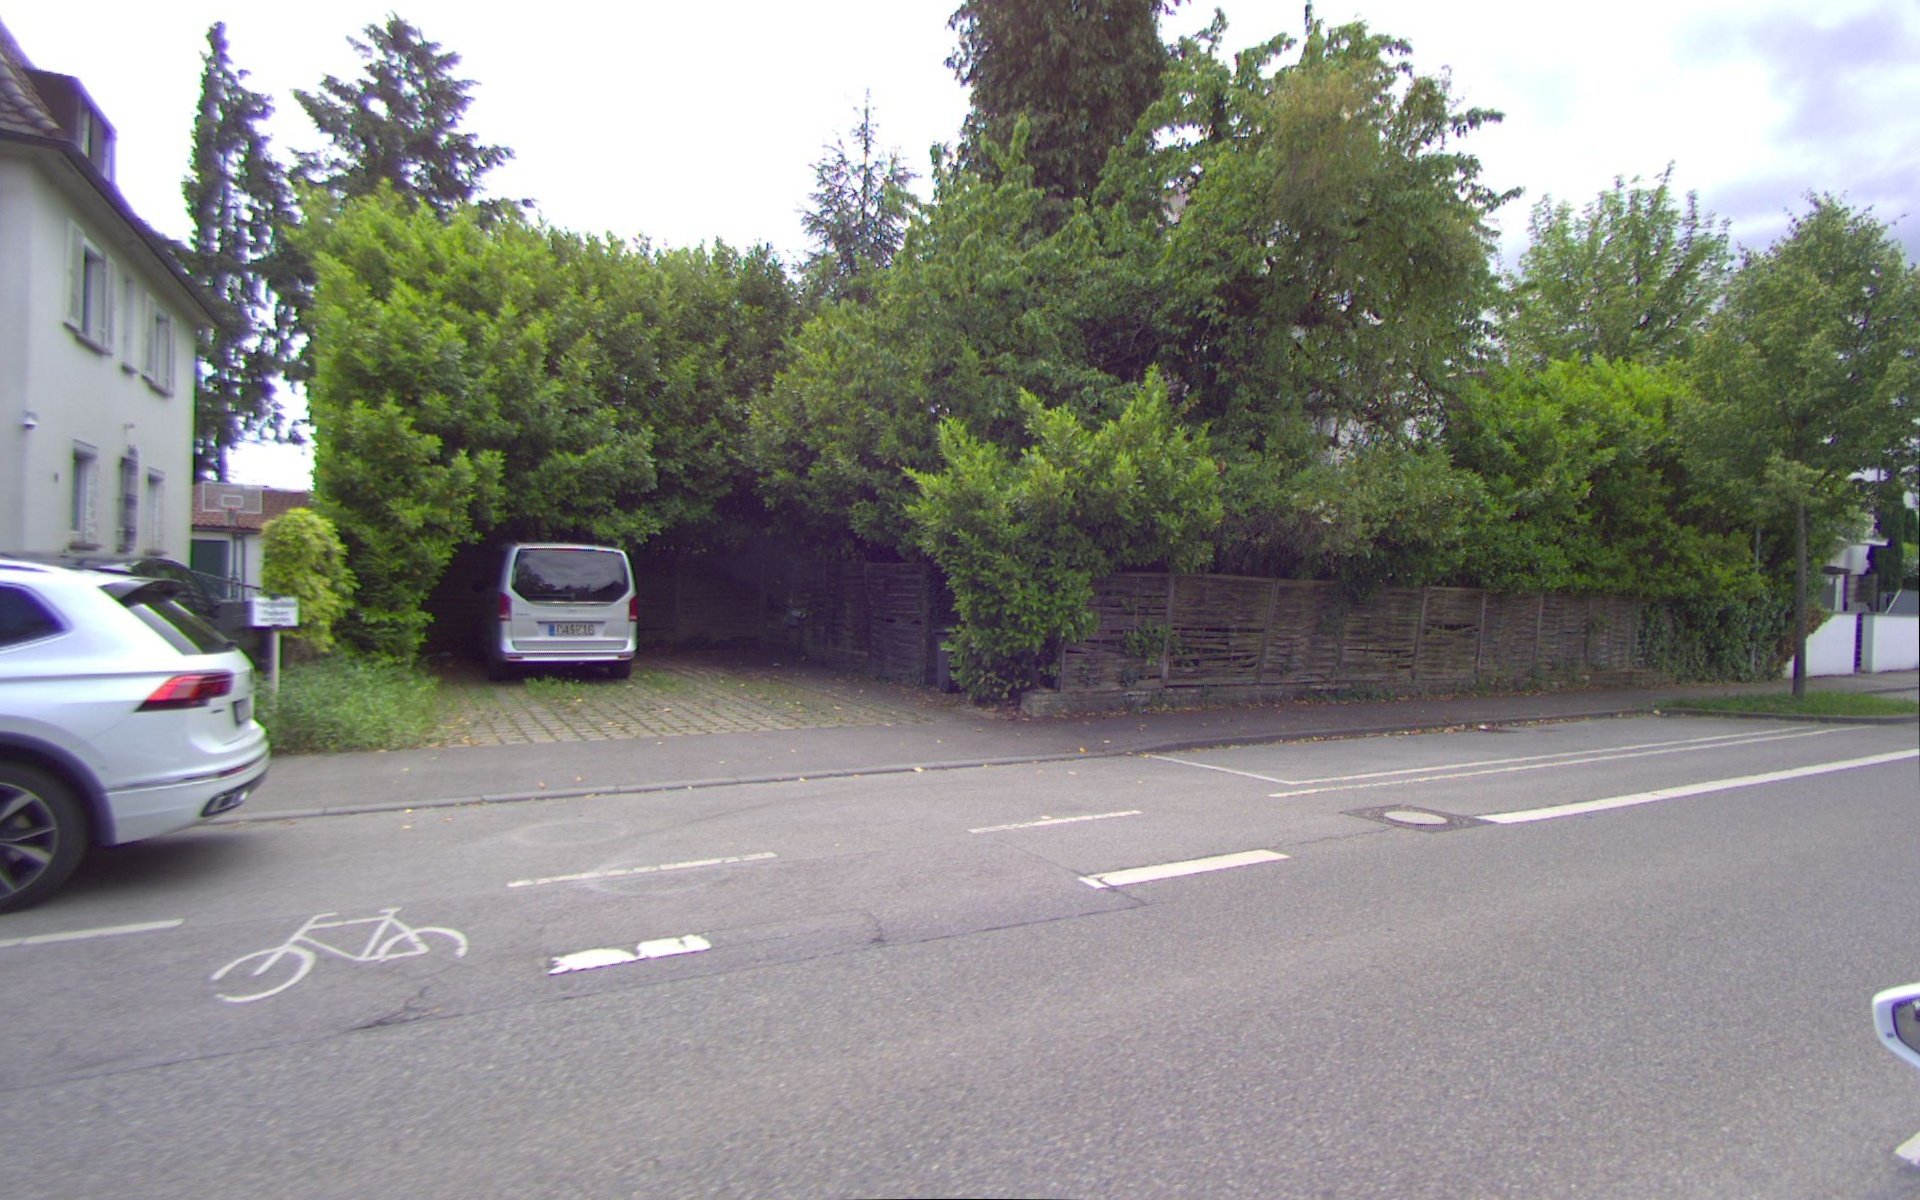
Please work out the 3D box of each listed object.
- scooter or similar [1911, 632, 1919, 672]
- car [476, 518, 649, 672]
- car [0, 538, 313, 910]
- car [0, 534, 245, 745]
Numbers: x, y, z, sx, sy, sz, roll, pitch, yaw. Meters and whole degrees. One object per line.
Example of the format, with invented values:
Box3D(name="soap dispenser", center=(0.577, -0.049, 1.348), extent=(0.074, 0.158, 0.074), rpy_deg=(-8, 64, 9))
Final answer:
Box3D(name="scooter or similar", center=(28.739, 1.537, 29.785), extent=(1.288, 1.170, 0.498), rpy_deg=(1, 0, -35))
Box3D(name="car", center=(-6.150, -0.040, 15.218), extent=(1.876, 1.962, 4.438), rpy_deg=(1, -1, -29))
Box3D(name="car", center=(-6.023, 0.538, 4.769), extent=(4.807, 1.711, 1.865), rpy_deg=(1, -1, -30))
Box3D(name="car", center=(-8.193, 0.305, 9.562), extent=(1.743, 1.606, 4.179), rpy_deg=(1, -1, -29))
